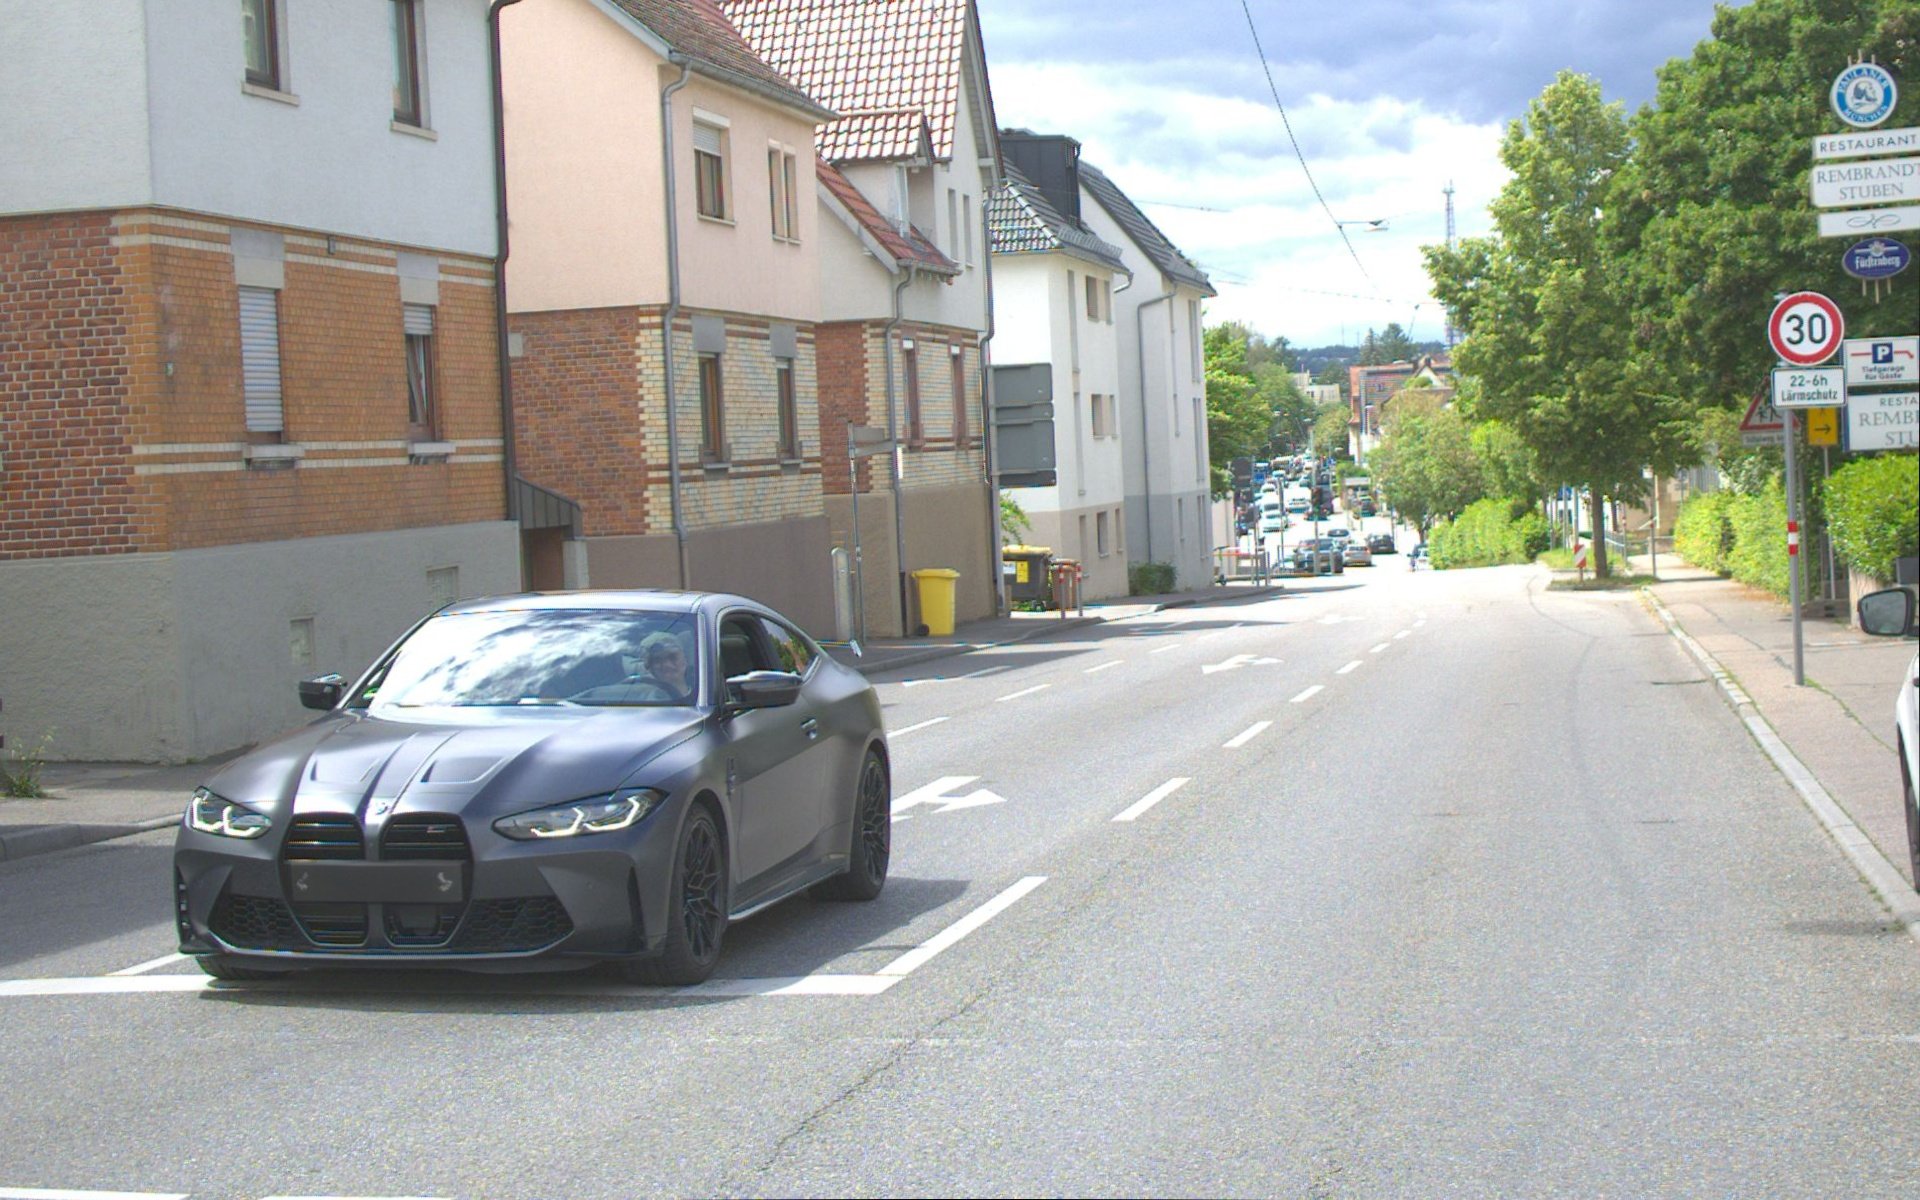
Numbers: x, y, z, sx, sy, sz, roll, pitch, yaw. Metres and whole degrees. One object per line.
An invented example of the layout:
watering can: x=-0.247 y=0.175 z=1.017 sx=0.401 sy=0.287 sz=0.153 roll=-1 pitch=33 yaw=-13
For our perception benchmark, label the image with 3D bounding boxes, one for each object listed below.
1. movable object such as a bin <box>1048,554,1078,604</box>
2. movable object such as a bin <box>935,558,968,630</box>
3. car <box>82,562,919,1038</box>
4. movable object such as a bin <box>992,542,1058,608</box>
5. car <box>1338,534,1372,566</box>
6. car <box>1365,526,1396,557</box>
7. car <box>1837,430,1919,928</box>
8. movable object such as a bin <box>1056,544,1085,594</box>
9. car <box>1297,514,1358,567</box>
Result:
movable object such as a bin: x=2.176 y=-0.444 z=72.585 sx=0.532 sy=1.026 sz=0.455 roll=-2 pitch=1 yaw=9
movable object such as a bin: x=-0.133 y=-0.099 z=55.594 sx=0.431 sy=1.124 sz=0.299 roll=-3 pitch=1 yaw=9
car: x=-1.600 y=0.662 z=13.888 sx=1.994 sy=1.452 sz=4.616 roll=-3 pitch=1 yaw=10
movable object such as a bin: x=1.359 y=-0.517 z=71.502 sx=1.281 sy=1.305 sz=0.816 roll=-2 pitch=1 yaw=5
car: x=25.665 y=-3.238 z=223.493 sx=1.994 sy=2.007 sz=3.999 roll=-3 pitch=0 yaw=6
car: x=29.226 y=-4.031 z=238.922 sx=1.994 sy=2.007 sz=3.999 roll=-3 pitch=0 yaw=6
car: x=4.293 y=0.230 z=12.037 sx=1.912 sy=1.788 sz=4.489 roll=-6 pitch=0 yaw=11
movable object such as a bin: x=2.348 y=-0.656 z=73.085 sx=0.532 sy=1.026 sz=0.455 roll=-2 pitch=1 yaw=9
car: x=14.609 y=-2.376 z=136.950 sx=1.993 sy=2.007 sz=4.000 roll=-2 pitch=1 yaw=1
